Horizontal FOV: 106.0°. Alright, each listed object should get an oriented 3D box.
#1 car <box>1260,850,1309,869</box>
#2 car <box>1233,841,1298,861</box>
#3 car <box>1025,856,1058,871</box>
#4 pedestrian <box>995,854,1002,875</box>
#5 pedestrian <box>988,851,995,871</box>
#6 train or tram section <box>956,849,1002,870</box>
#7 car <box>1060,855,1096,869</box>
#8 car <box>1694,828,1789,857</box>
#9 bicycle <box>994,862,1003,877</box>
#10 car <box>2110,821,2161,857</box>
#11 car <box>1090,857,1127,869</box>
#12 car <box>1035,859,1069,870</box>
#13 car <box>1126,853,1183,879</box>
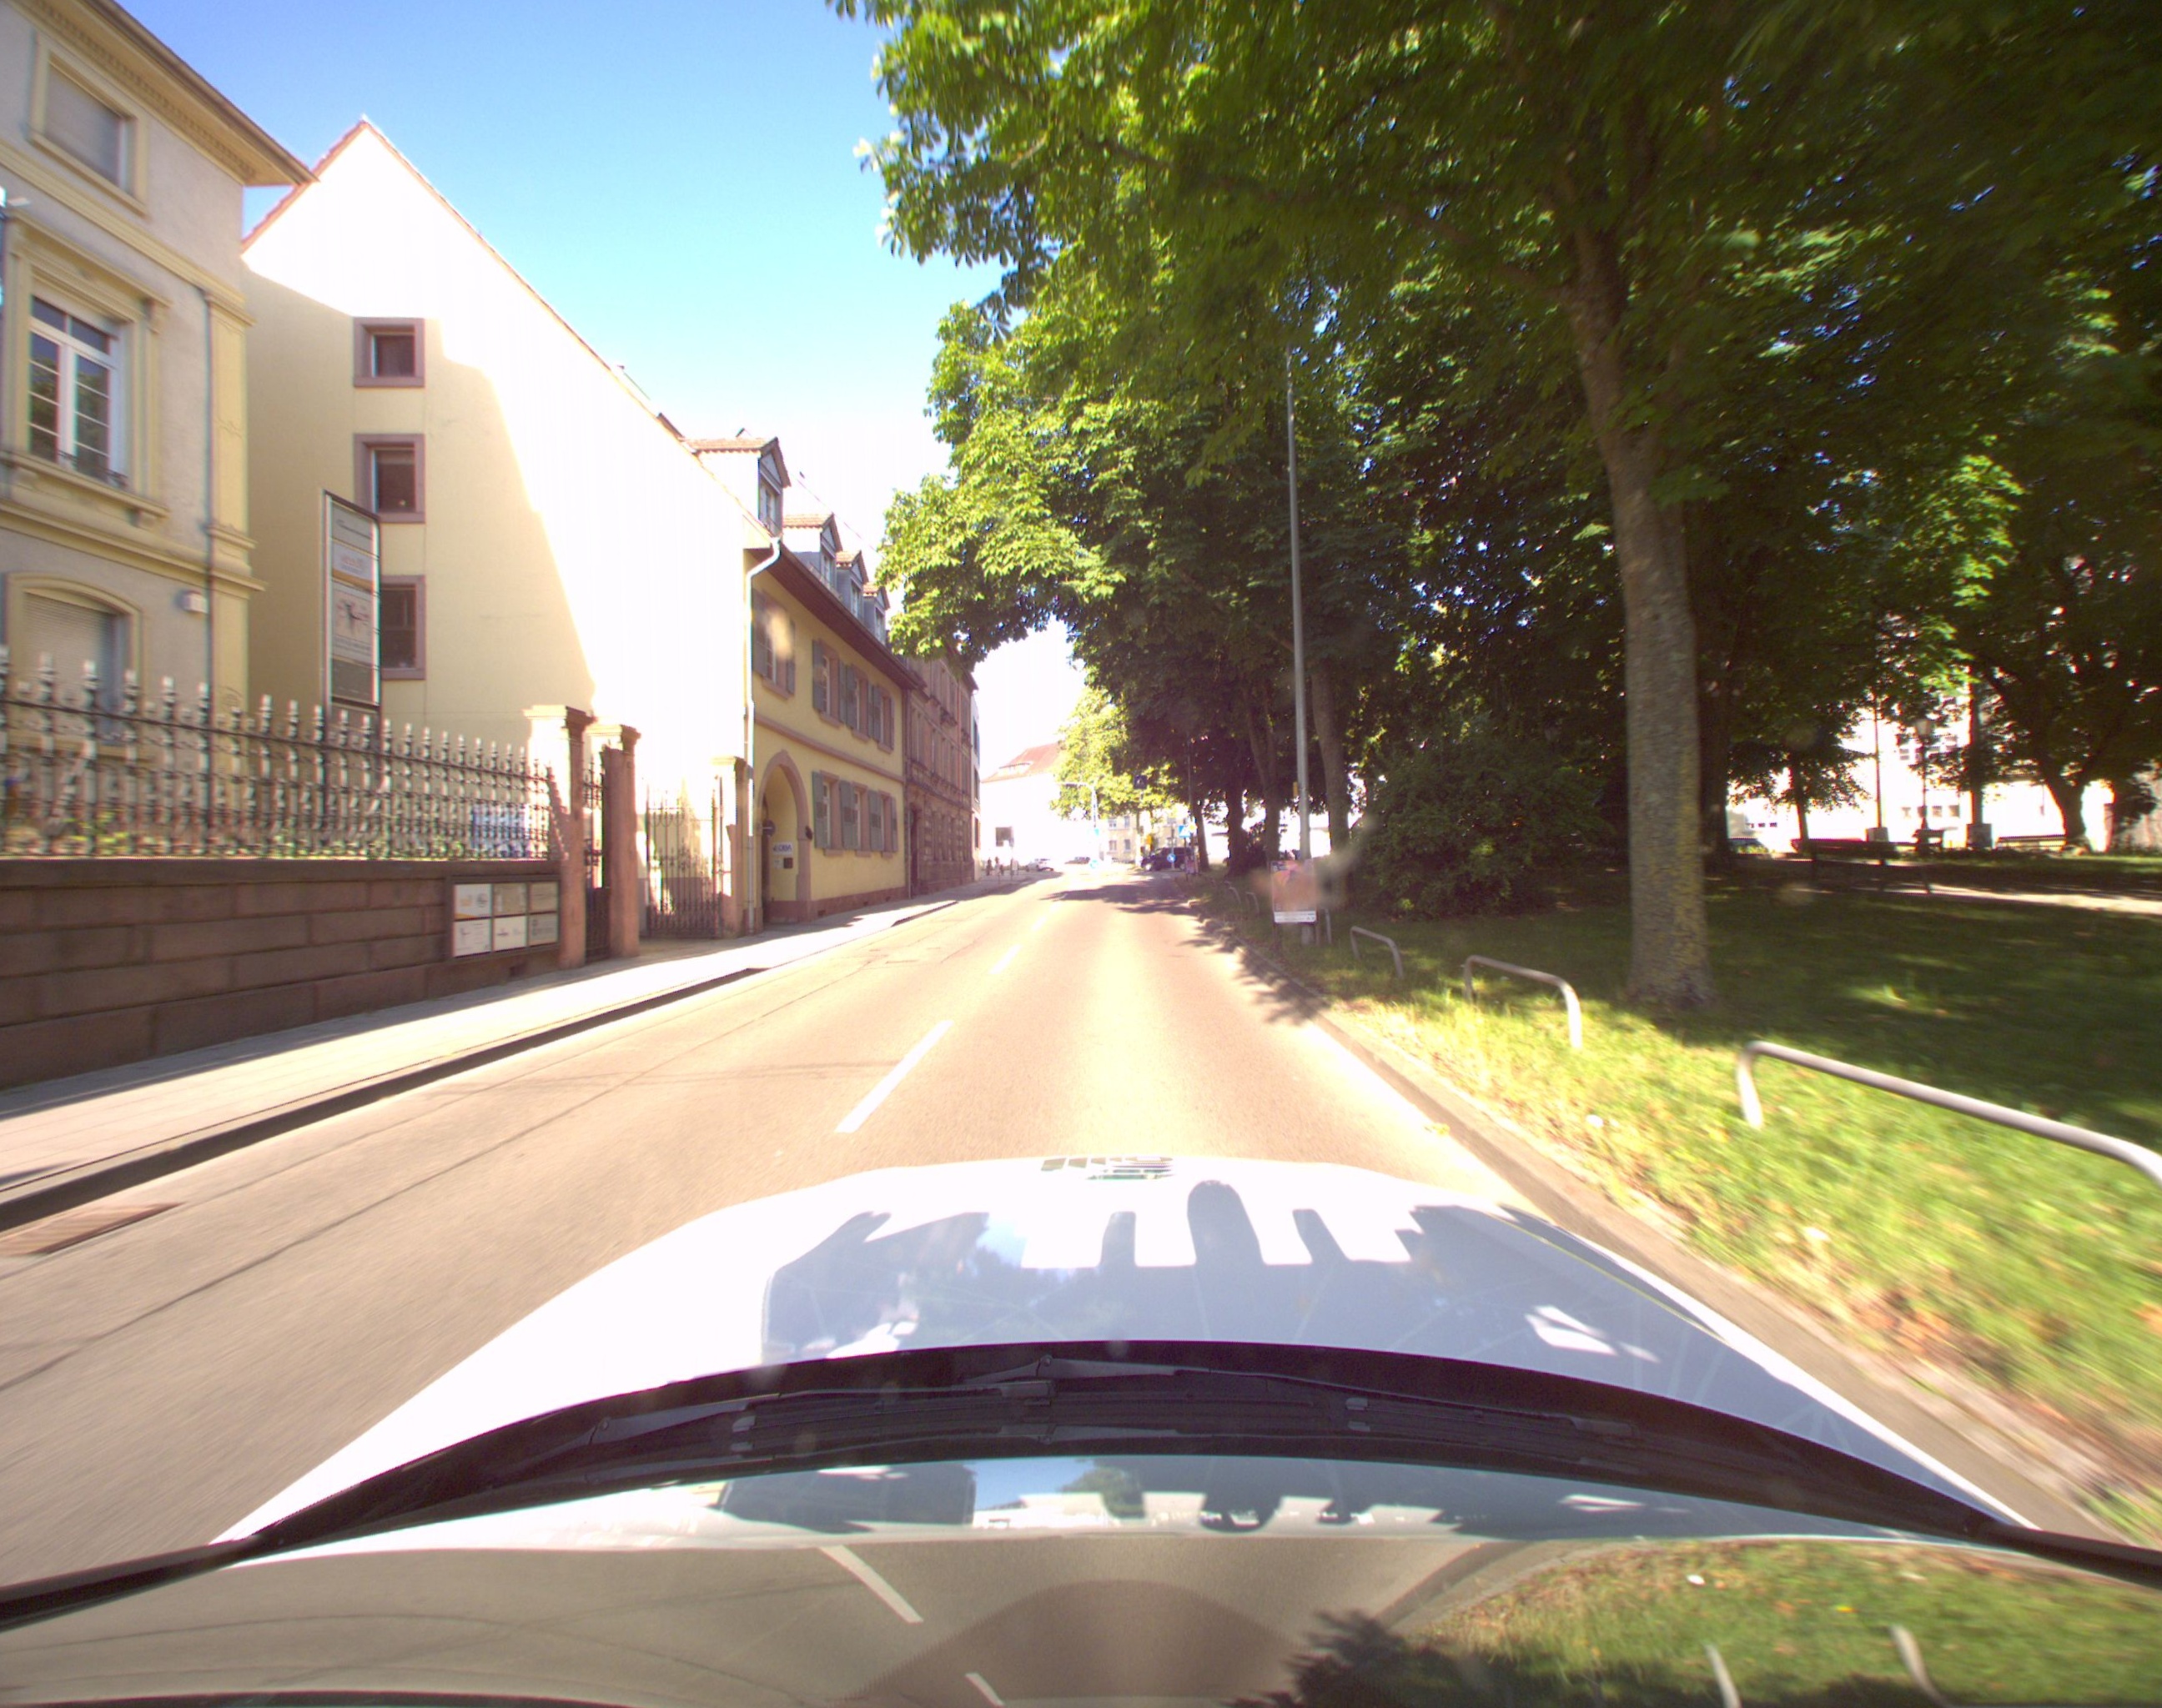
[{"bbox_3d":[19.847,0.521,79.442,2.011,1.749,4.158,-1,0,-42],"label":"car"},{"bbox_3d":[14.644,-0.221,64.817,4.713,1.463,1.866,-1,0,26],"label":"car"},{"bbox_3d":[-4.119,0.984,84.089,1.970,1.505,3.651,-2,0,-29],"label":"car"},{"bbox_3d":[-6.691,0.827,65.959,0.475,1.647,0.599,-2,0,-17],"label":"pedestrian"},{"bbox_3d":[-7.243,0.561,65.823,0.475,1.565,0.599,-1,0,-18],"label":"pedestrian"},{"bbox_3d":[-17.961,0.938,144.260,2.749,3.555,9.979,-1,-1,27],"label":"train or tram section"},{"bbox_3d":[-0.421,1.055,102.805,2.011,1.572,4.585,-1,-1,-42],"label":"car"},{"bbox_3d":[35.823,-0.622,44.215,1.686,1.422,3.753,-3,0,-43],"label":"car"},{"bbox_3d":[-6.670,1.253,65.850,0.441,1.178,1.956,0,0,-16],"label":"bicycle"},{"bbox_3d":[45.296,-0.656,33.347,1.685,1.422,3.754,-3,0,-42],"label":"car"},{"bbox_3d":[3.283,1.080,98.557,2.011,1.386,4.392,-1,0,-42],"label":"car"},{"bbox_3d":[-3.855,1.355,106.702,4.391,1.386,2.012,-1,0,45],"label":"car"},{"bbox_3d":[5.696,0.936,62.961,3.953,2.014,2.010,0,-1,20],"label":"car"}]
